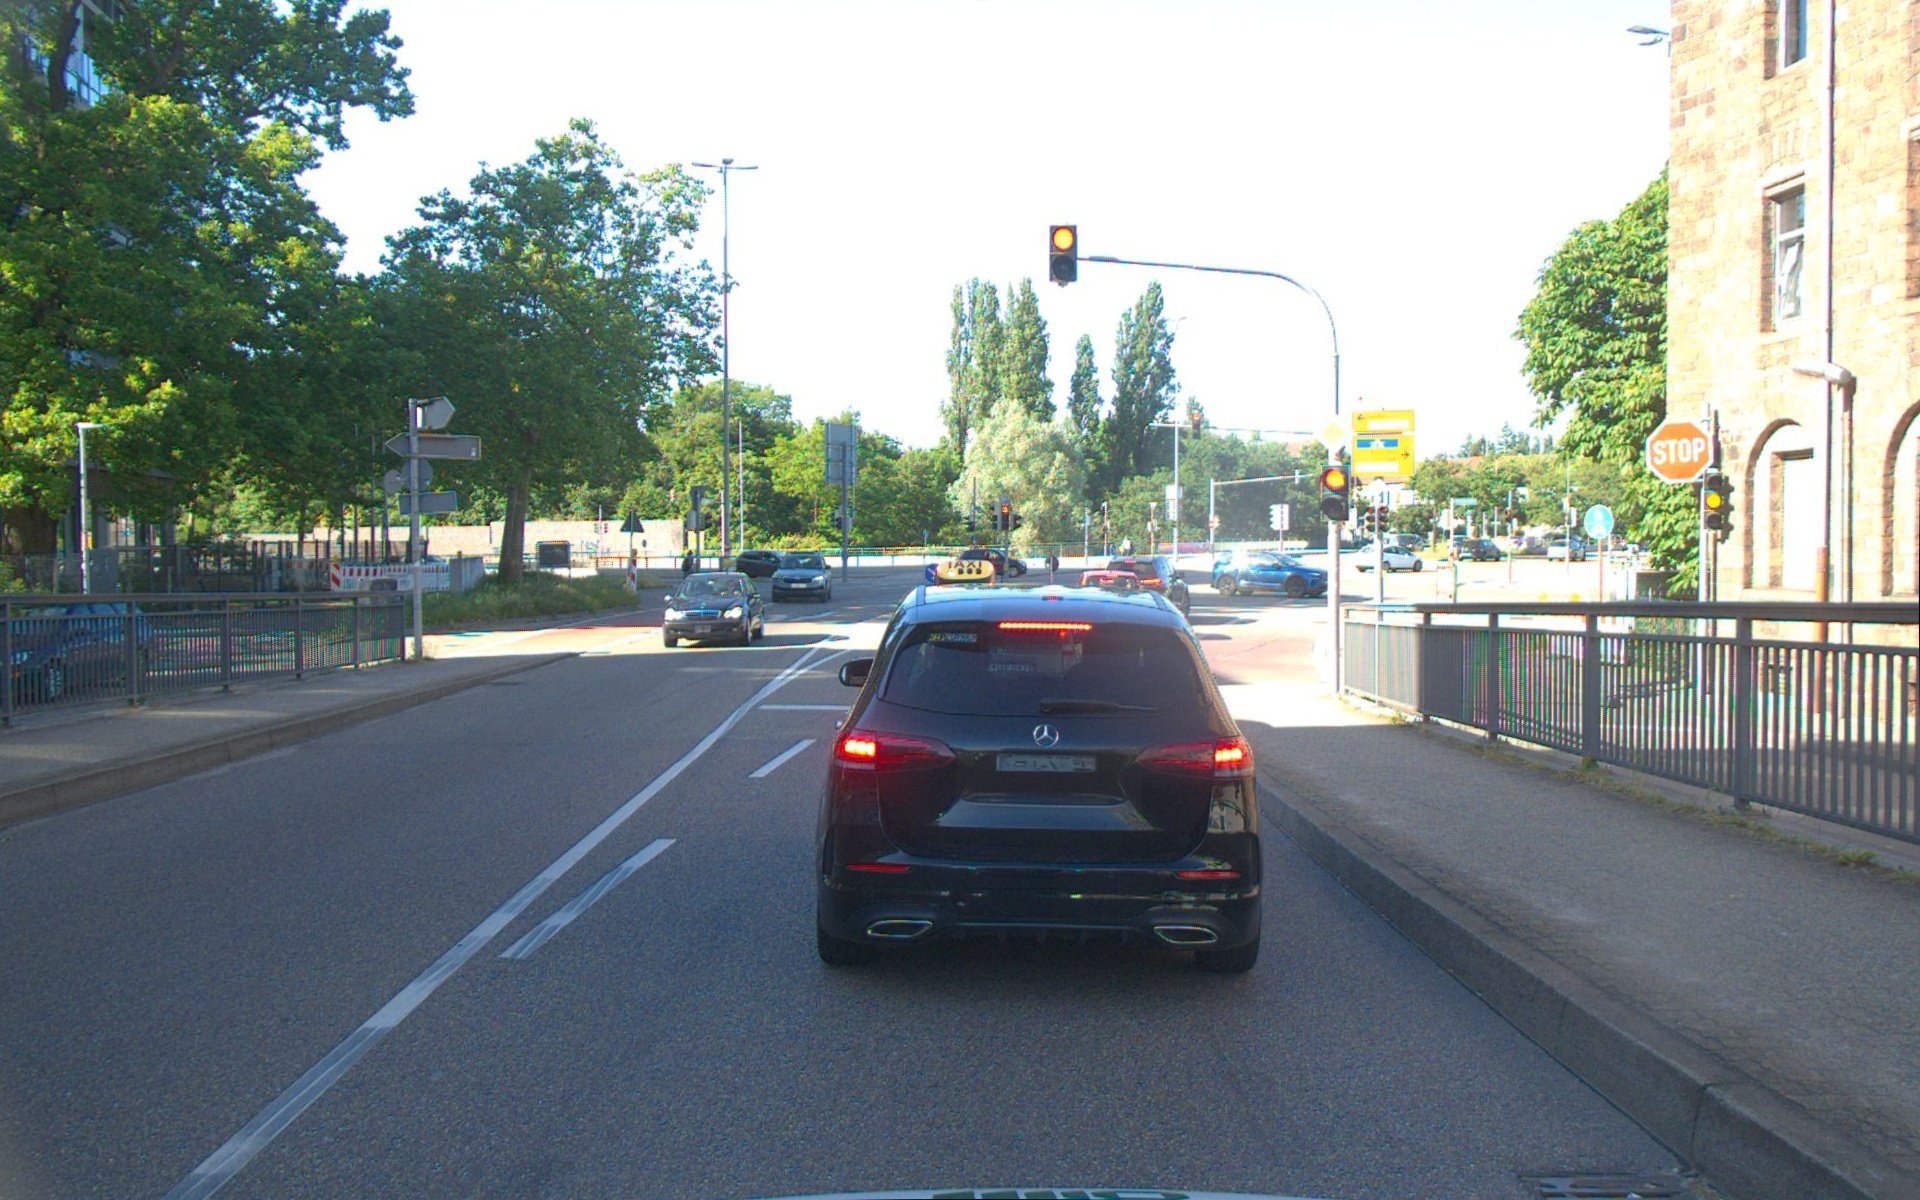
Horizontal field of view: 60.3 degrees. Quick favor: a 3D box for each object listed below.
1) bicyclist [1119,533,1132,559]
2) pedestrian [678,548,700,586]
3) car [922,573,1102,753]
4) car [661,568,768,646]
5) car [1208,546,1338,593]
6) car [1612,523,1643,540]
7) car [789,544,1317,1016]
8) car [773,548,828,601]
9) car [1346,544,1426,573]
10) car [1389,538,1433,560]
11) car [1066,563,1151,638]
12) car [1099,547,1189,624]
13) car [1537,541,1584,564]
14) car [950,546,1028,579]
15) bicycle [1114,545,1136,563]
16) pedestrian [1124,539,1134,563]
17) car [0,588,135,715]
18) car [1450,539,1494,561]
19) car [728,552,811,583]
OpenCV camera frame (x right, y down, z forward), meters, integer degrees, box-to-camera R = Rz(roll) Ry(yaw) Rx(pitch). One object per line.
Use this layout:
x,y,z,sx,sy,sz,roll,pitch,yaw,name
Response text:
10.443,-3.407,104.475,0.516,1.578,0.805,-1,2,33,bicyclist
-11.117,-1.359,67.838,0.690,1.552,0.744,1,1,10,pedestrian
0.513,0.540,16.723,1.606,1.556,3.475,-1,2,1,car
-5.014,0.098,34.302,1.706,1.431,4.200,-1,2,-2,car
11.413,-1.138,60.416,4.316,1.619,1.915,2,3,36,car
57.462,-5.892,142.436,1.750,1.381,4.068,0,3,33,car
0.301,0.611,7.832,1.839,1.641,4.000,1,1,-1,car
-5.393,-0.889,55.552,1.769,1.651,3.996,0,3,-7,car
22.820,-2.246,88.582,4.269,1.389,1.974,-3,3,-37,car
32.828,-3.720,120.377,1.846,1.605,3.987,1,2,35,car
3.376,-0.024,38.156,1.686,1.548,3.487,0,3,0,car
5.060,-0.438,45.077,1.685,1.843,4.302,0,3,17,car
39.433,-3.127,108.489,1.958,1.317,4.583,0,3,33,car
1.465,-1.931,85.311,3.907,1.574,1.890,1,0,-2,car
10.443,-2.920,104.497,0.516,1.068,1.985,-1,2,32,bicycle
11.230,-3.269,109.877,0.443,1.613,0.499,0,2,40,pedestrian
-14.769,0.729,25.795,1.814,1.722,4.000,0,2,-1,car
33.309,-3.278,107.490,1.844,1.317,4.589,0,3,29,car
-9.487,-1.601,82.480,3.904,1.524,1.745,0,0,3,car
